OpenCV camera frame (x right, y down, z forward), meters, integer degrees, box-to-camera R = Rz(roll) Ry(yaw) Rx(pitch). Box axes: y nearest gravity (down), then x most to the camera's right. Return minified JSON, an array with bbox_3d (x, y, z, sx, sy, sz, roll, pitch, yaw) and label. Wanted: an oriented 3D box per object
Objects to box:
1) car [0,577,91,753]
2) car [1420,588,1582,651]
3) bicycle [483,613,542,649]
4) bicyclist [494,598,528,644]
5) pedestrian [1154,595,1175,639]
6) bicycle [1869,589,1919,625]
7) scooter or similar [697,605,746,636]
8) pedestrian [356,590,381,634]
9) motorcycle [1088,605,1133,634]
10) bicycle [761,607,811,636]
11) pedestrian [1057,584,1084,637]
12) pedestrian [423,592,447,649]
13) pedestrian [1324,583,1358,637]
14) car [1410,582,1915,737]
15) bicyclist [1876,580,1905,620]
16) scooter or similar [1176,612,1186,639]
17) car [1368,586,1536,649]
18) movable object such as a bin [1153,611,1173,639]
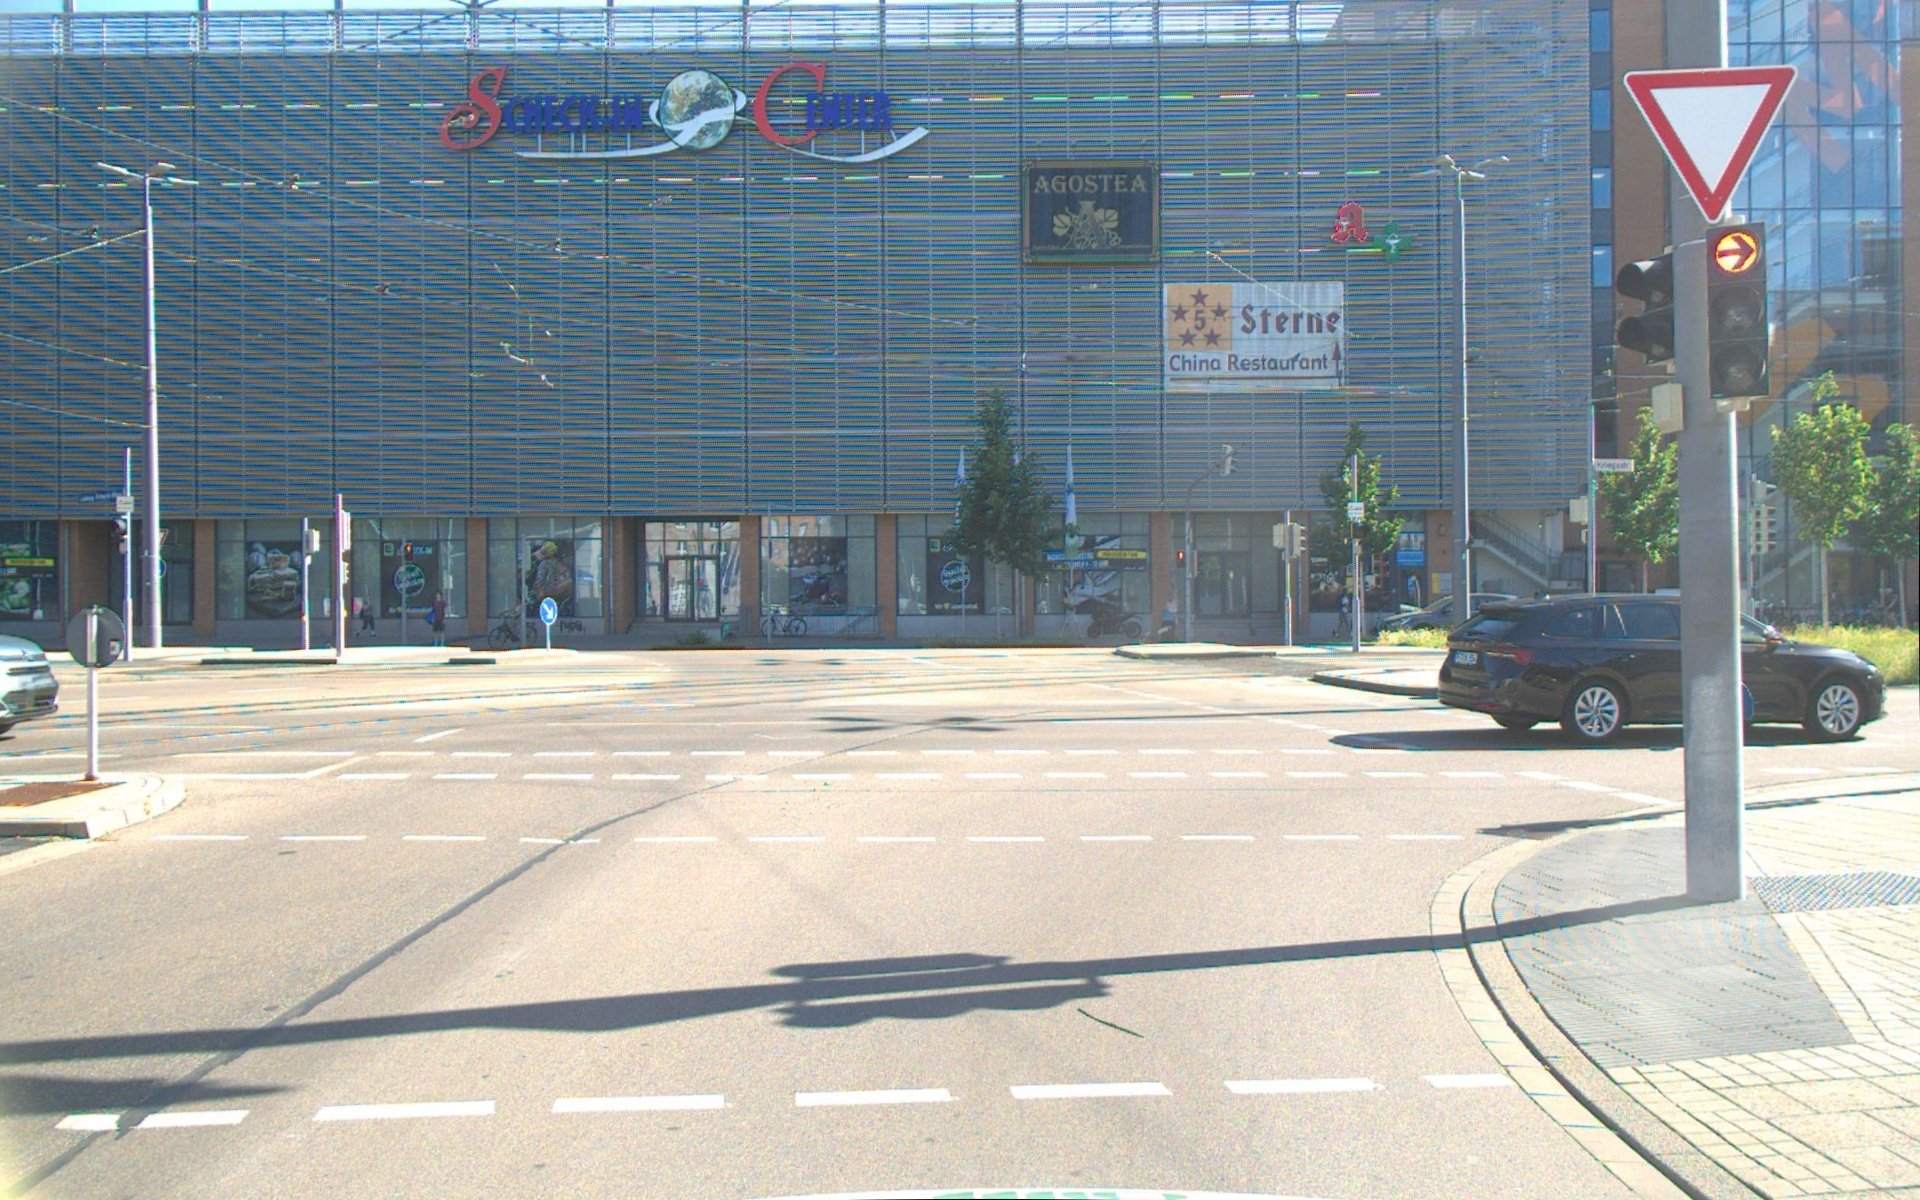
[{"bbox_3d":[-10.569,0.615,15.214,4.179,1.540,1.708,-1,0,-4],"label":"car"},{"bbox_3d":[16.154,0.594,49.516,4.203,1.611,1.840,3,-1,-2],"label":"car"},{"bbox_3d":[-14.771,1.008,54.611,0.559,1.105,1.852,0,2,42],"label":"bicycle"},{"bbox_3d":[-14.803,0.691,54.536,0.663,1.452,0.844,0,2,42],"label":"bicyclist"},{"bbox_3d":[6.853,0.576,55.357,0.641,1.438,0.850,1,0,10],"label":"pedestrian"},{"bbox_3d":[33.956,0.241,59.871,1.819,1.238,0.569,-1,1,-2],"label":"bicycle"},{"bbox_3d":[-8.751,0.748,60.772,1.759,1.085,0.611,0,1,-9],"label":"scooter or similar"},{"bbox_3d":[-22.007,0.447,61.547,0.646,1.629,0.594,1,-1,18],"label":"pedestrian"},{"bbox_3d":[5.525,0.727,60.701,1.605,1.022,0.447,1,0,6],"label":"motorcycle"},{"bbox_3d":[-6.370,0.779,60.425,1.783,1.006,0.556,0,1,-11],"label":"bicycle"},{"bbox_3d":[3.988,0.384,59.685,0.930,1.860,0.846,-2,-4,5],"label":"pedestrian"},{"bbox_3d":[-17.343,0.664,54.659,0.683,1.829,0.727,-2,0,-17],"label":"pedestrian"},{"bbox_3d":[13.545,0.340,58.808,0.991,1.860,1.036,-2,0,3],"label":"pedestrian"},{"bbox_3d":[7.228,0.578,17.208,4.582,1.487,1.830,0,0,-9],"label":"car"},{"bbox_3d":[33.659,0.004,59.844,0.738,1.410,0.565,-1,1,-1],"label":"bicyclist"},{"bbox_3d":[7.362,0.833,55.184,0.288,0.888,1.004,1,0,10],"label":"scooter or similar"},{"bbox_3d":[13.666,0.495,46.041,4.063,1.495,1.840,3,-1,-2],"label":"car"},{"bbox_3d":[6.737,0.831,54.891,0.599,0.920,0.970,1,0,10],"label":"movable object such as a bin"}]
